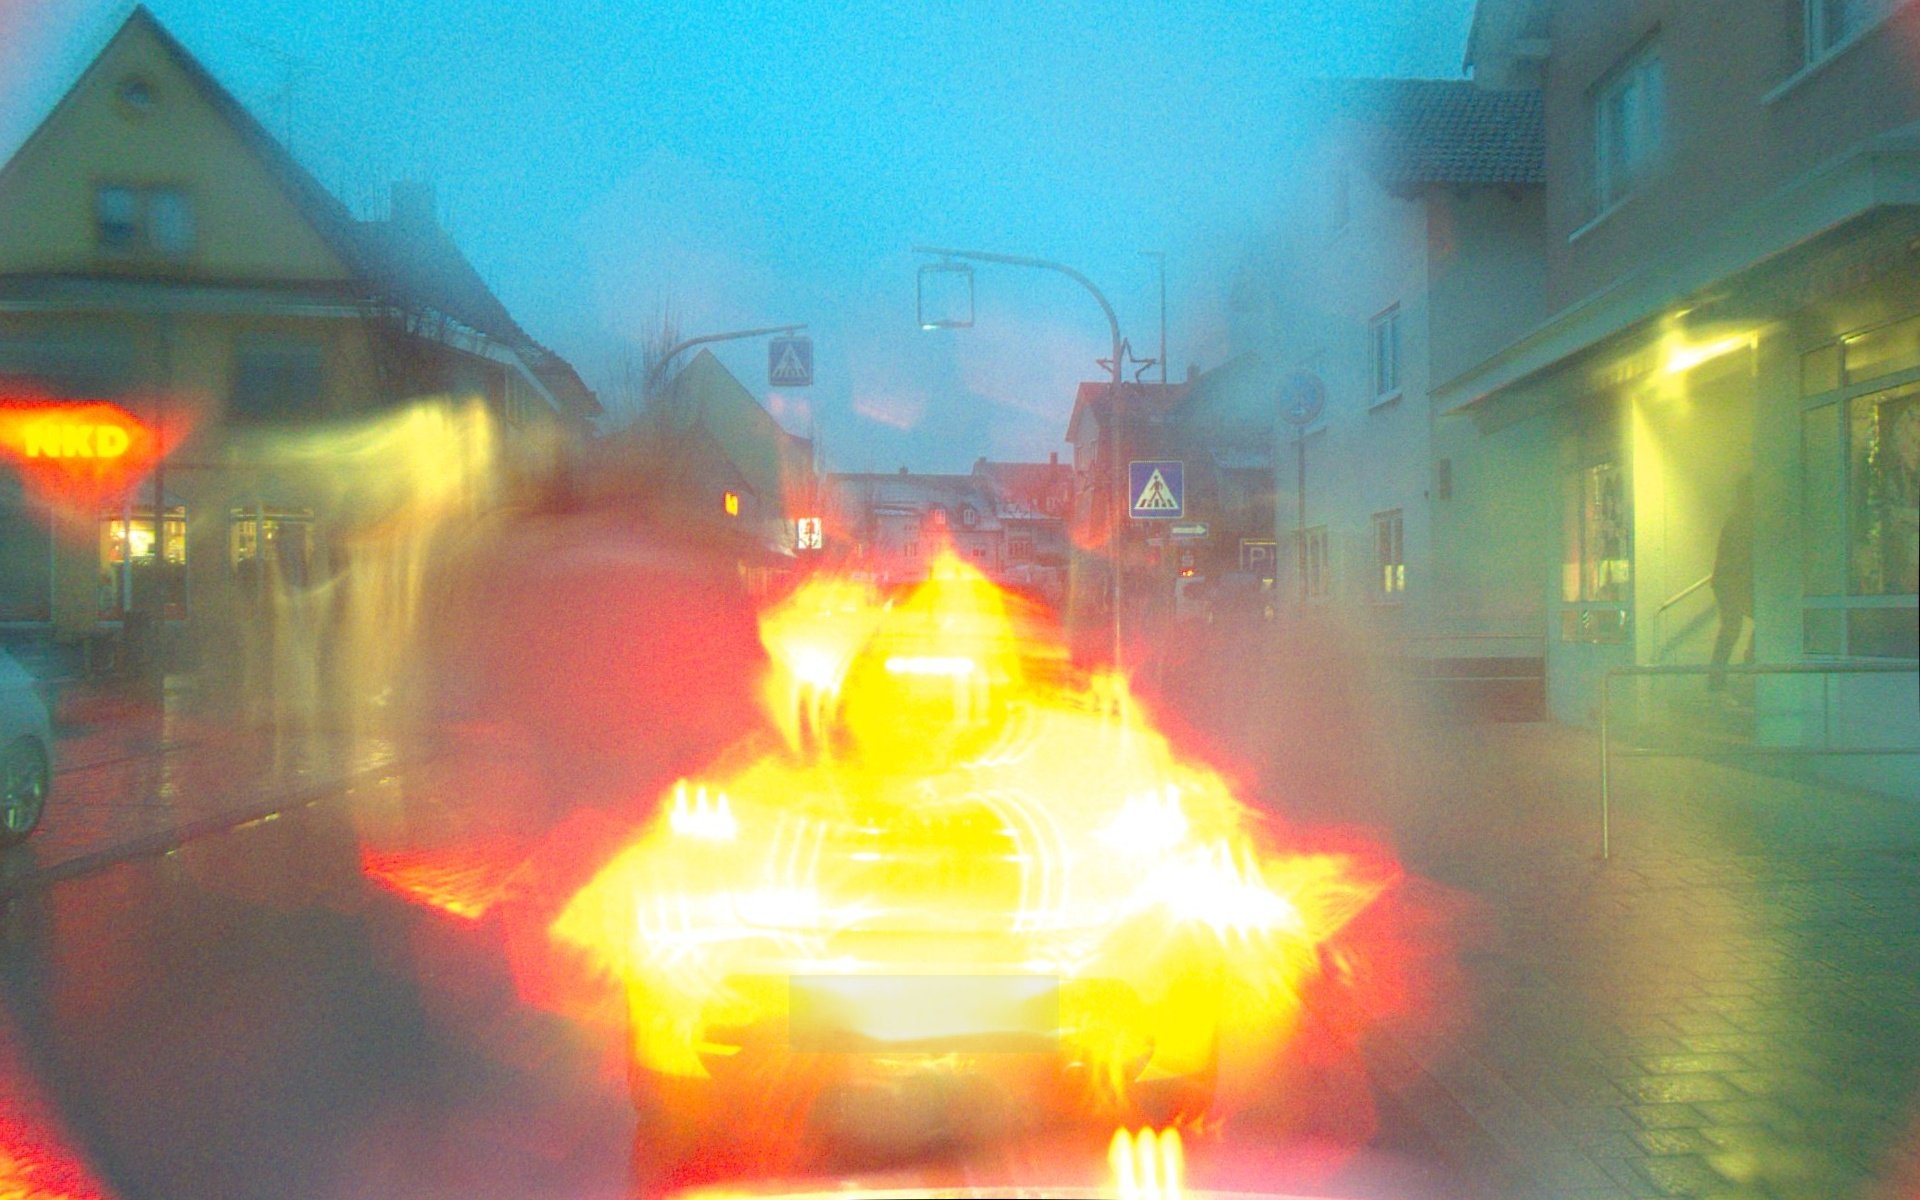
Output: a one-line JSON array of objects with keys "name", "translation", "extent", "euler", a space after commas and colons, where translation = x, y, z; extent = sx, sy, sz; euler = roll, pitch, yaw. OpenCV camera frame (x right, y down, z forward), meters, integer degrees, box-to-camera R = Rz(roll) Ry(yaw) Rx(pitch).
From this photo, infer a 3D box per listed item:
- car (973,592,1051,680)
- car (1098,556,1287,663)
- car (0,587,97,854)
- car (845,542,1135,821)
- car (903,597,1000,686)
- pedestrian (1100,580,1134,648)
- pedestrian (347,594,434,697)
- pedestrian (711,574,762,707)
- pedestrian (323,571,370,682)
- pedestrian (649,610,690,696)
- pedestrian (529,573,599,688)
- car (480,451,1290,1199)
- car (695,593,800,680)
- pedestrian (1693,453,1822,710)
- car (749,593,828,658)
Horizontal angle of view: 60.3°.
[{"name": "car", "translation": [1.273, 0.855, 41.904], "extent": [1.609, 2.049, 3.998], "euler": [-2, 0, -3]}, {"name": "car", "translation": [4.653, 0.192, 33.476], "extent": [3.620, 2.049, 1.690], "euler": [1, -1, 2]}, {"name": "car", "translation": [-6.355, 0.682, 8.608], "extent": [1.636, 1.543, 3.999], "euler": [2, 0, -1]}, {"name": "car", "translation": [0.208, 0.511, 12.135], "extent": [1.761, 1.691, 4.000], "euler": [1, 0, 1]}, {"name": "car", "translation": [-0.102, 0.765, 32.821], "extent": [1.789, 1.629, 4.582], "euler": [0, 0, 1]}, {"name": "pedestrian", "translation": [4.820, 0.428, 50.845], "extent": [0.995, 2.049, 1.276], "euler": [0, 0, 4]}, {"name": "pedestrian", "translation": [-8.643, 0.688, 25.115], "extent": [0.872, 1.442, 0.776], "euler": [6, -1, 4]}, {"name": "pedestrian", "translation": [-3.273, 0.579, 24.227], "extent": [0.689, 1.909, 0.616], "euler": [1, 1, -7]}, {"name": "pedestrian", "translation": [-9.941, 0.423, 26.797], "extent": [0.577, 1.773, 0.683], "euler": [0, 0, -8]}, {"name": "pedestrian", "translation": [-4.257, 0.769, 24.224], "extent": [0.542, 1.254, 0.433], "euler": [0, 0, -5]}, {"name": "pedestrian", "translation": [-6.287, 0.470, 26.296], "extent": [0.955, 1.773, 0.960], "euler": [1, 1, -8]}, {"name": "car", "translation": [-0.101, 0.530, 6.325], "extent": [1.952, 1.827, 4.650], "euler": [0, 1, 2]}, {"name": "car", "translation": [-5.181, 0.857, 40.865], "extent": [1.952, 2.049, 4.362], "euler": [0, 0, 1]}, {"name": "pedestrian", "translation": [6.173, -0.141, 12.830], "extent": [0.649, 1.921, 0.824], "euler": [1, -1, 6]}, {"name": "car", "translation": [-4.937, 0.709, 48.023], "extent": [1.953, 1.783, 4.360], "euler": [0, 0, -2]}]
